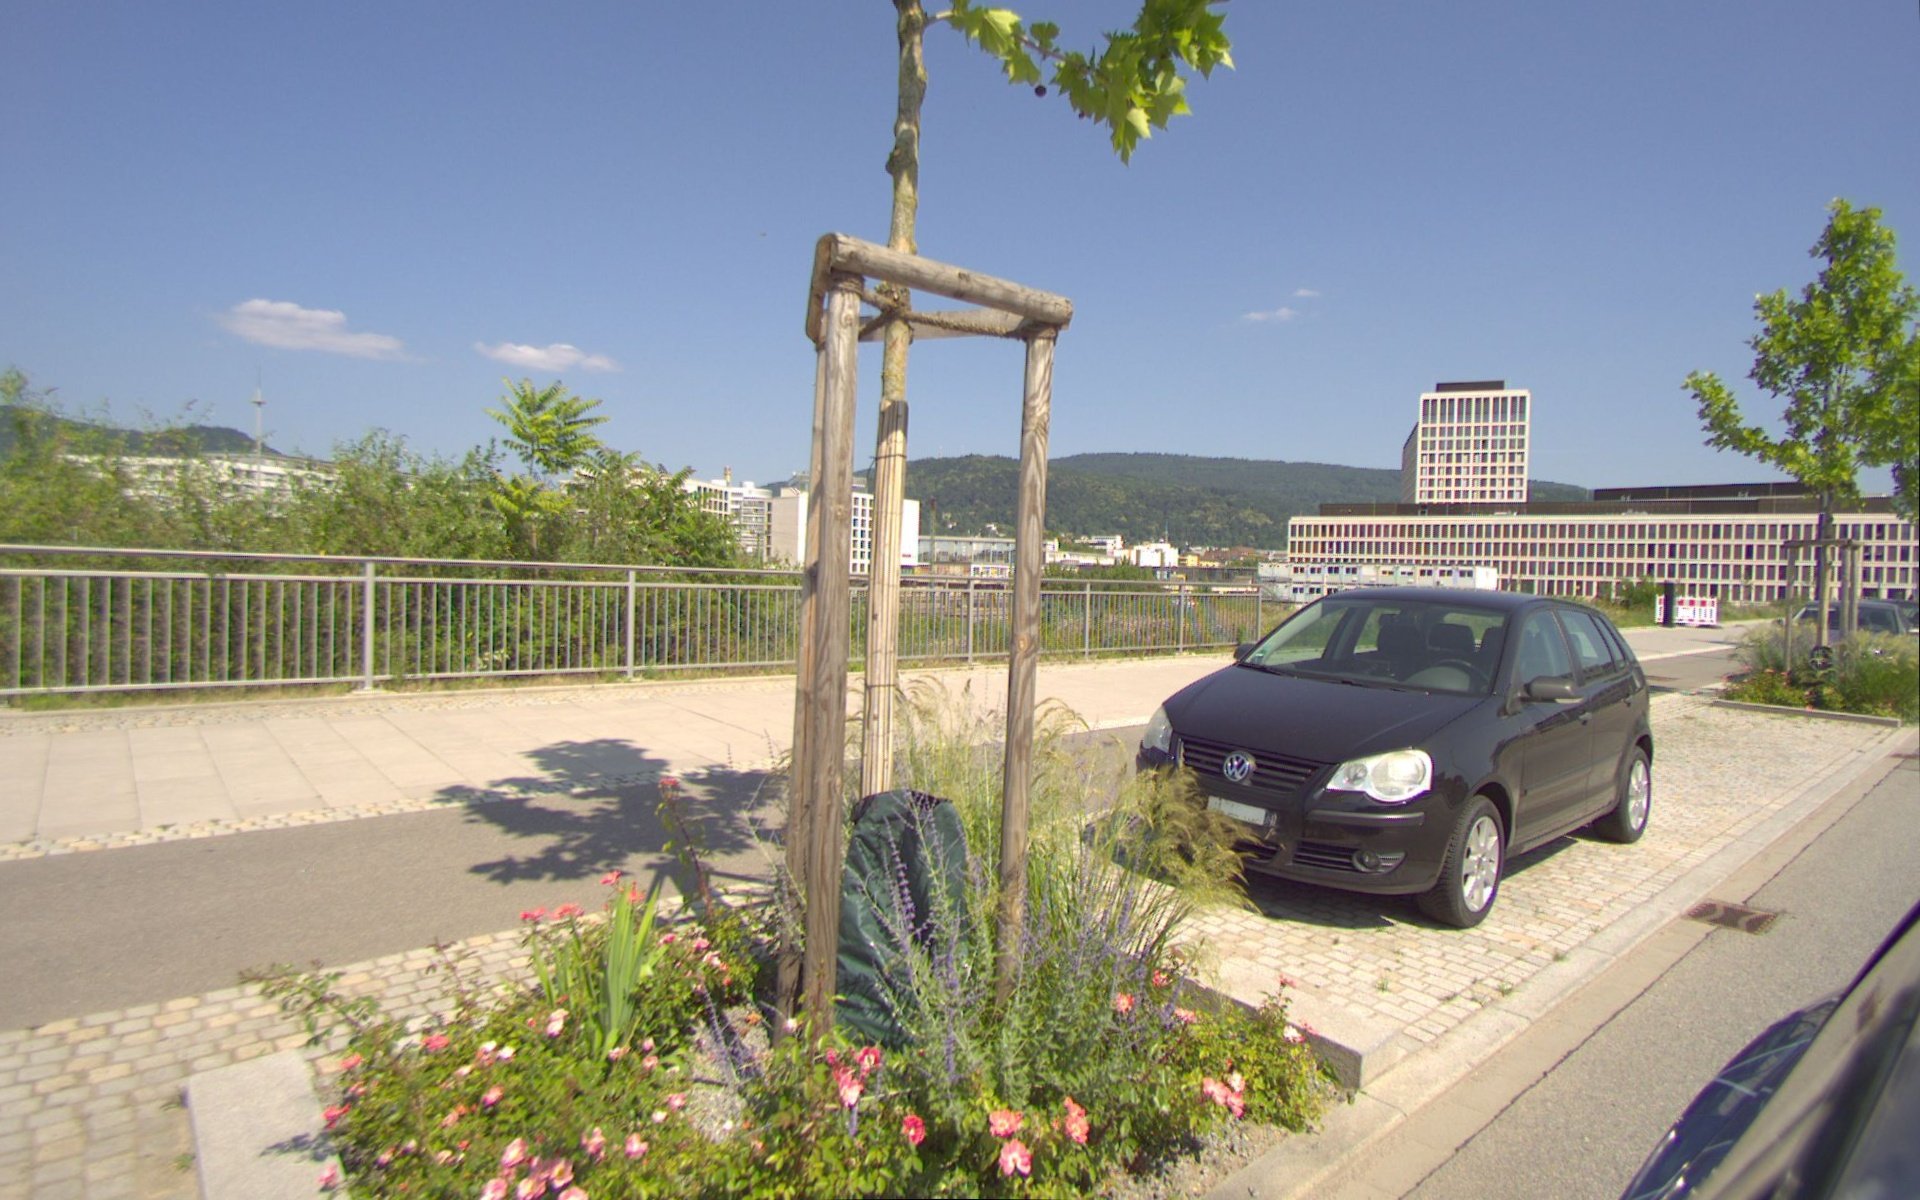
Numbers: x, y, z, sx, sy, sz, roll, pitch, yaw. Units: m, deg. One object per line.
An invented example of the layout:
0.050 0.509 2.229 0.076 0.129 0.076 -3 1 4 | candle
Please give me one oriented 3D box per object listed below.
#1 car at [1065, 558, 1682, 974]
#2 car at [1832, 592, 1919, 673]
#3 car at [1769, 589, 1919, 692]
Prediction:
2.524 0.554 5.673 3.888 1.480 1.707 -1 4 -43 | car
19.233 0.638 20.489 4.011 1.481 1.708 1 1 -39 | car
14.924 0.600 16.740 3.884 1.481 1.707 1 1 -41 | car
